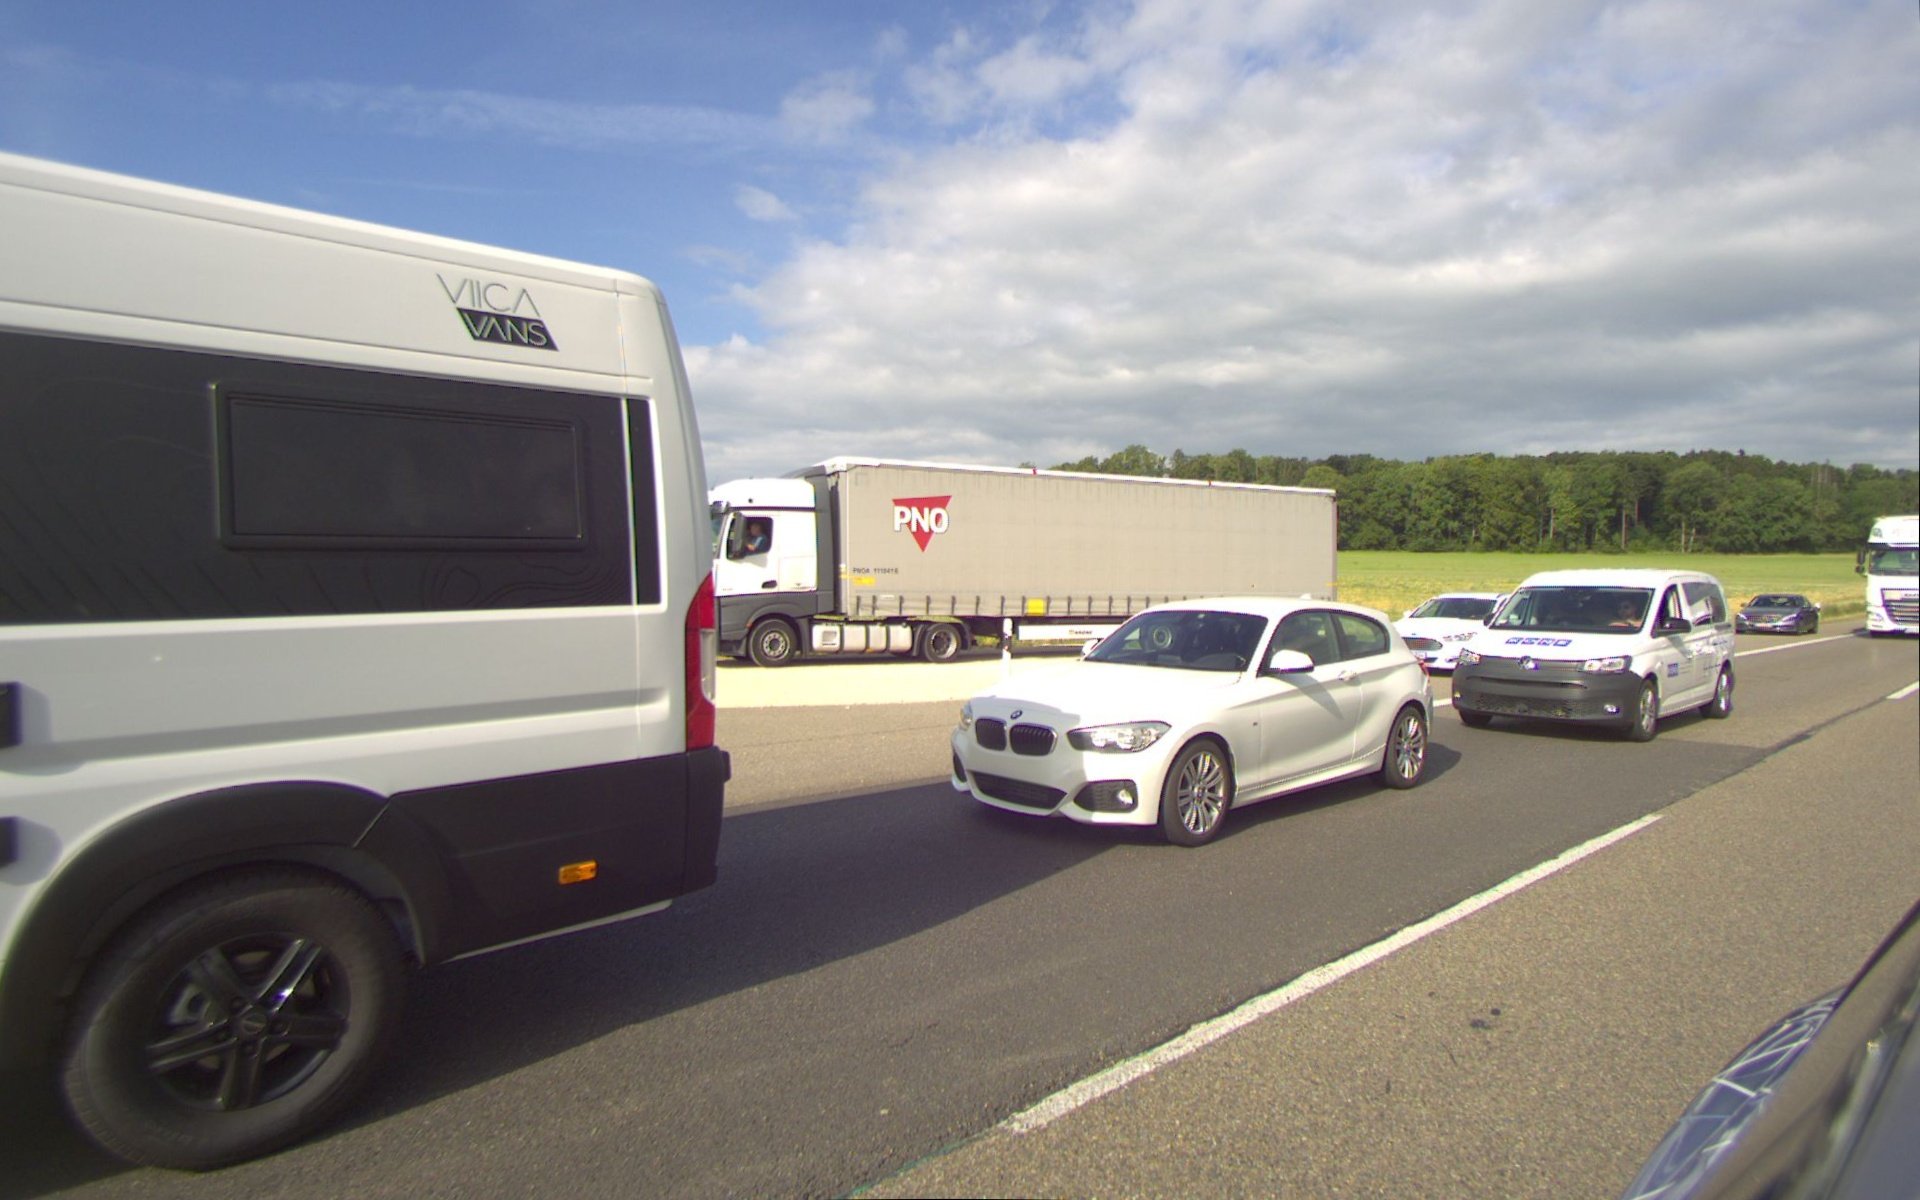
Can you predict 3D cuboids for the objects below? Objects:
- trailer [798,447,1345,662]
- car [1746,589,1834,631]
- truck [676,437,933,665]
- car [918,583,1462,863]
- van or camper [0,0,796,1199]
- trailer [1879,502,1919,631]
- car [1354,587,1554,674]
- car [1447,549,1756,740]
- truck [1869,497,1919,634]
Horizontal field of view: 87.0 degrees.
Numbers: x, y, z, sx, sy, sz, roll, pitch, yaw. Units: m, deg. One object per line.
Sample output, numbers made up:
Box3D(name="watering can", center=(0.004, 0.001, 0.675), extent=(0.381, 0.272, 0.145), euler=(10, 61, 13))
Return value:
Box3D(name="trailer", center=(3.112, -0.905, 24.041), extent=(13.543, 4.213, 2.748), euler=(0, 0, -26))
Box3D(name="car", center=(29.178, 0.315, 35.541), extent=(4.110, 1.369, 1.707), euler=(0, 2, -41))
Box3D(name="truck", center=(-3.245, -0.915, 20.939), extent=(4.662, 4.226, 2.727), euler=(0, 0, -26))
Box3D(name="car", center=(1.846, 0.618, 7.267), extent=(4.158, 1.450, 1.706), euler=(0, 0, -41))
Box3D(name="van or camper", center=(-3.620, 0.003, 2.240), extent=(6.222, 2.714, 2.219), euler=(0, 1, -41))
Box3D(name="trailer", center=(36.644, -1.231, 37.180), extent=(13.777, 4.212, 2.739), euler=(-1, 1, -41))
Box3D(name="car", center=(9.400, 0.486, 19.089), extent=(4.551, 1.450, 1.869), euler=(0, 0, -43))
Box3D(name="car", center=(7.487, 0.397, 11.606), extent=(4.620, 1.779, 1.727), euler=(0, 0, -41))
Box3D(name="truck", center=(31.964, -1.119, 33.052), extent=(5.667, 4.226, 2.733), euler=(-1, 1, -41))
